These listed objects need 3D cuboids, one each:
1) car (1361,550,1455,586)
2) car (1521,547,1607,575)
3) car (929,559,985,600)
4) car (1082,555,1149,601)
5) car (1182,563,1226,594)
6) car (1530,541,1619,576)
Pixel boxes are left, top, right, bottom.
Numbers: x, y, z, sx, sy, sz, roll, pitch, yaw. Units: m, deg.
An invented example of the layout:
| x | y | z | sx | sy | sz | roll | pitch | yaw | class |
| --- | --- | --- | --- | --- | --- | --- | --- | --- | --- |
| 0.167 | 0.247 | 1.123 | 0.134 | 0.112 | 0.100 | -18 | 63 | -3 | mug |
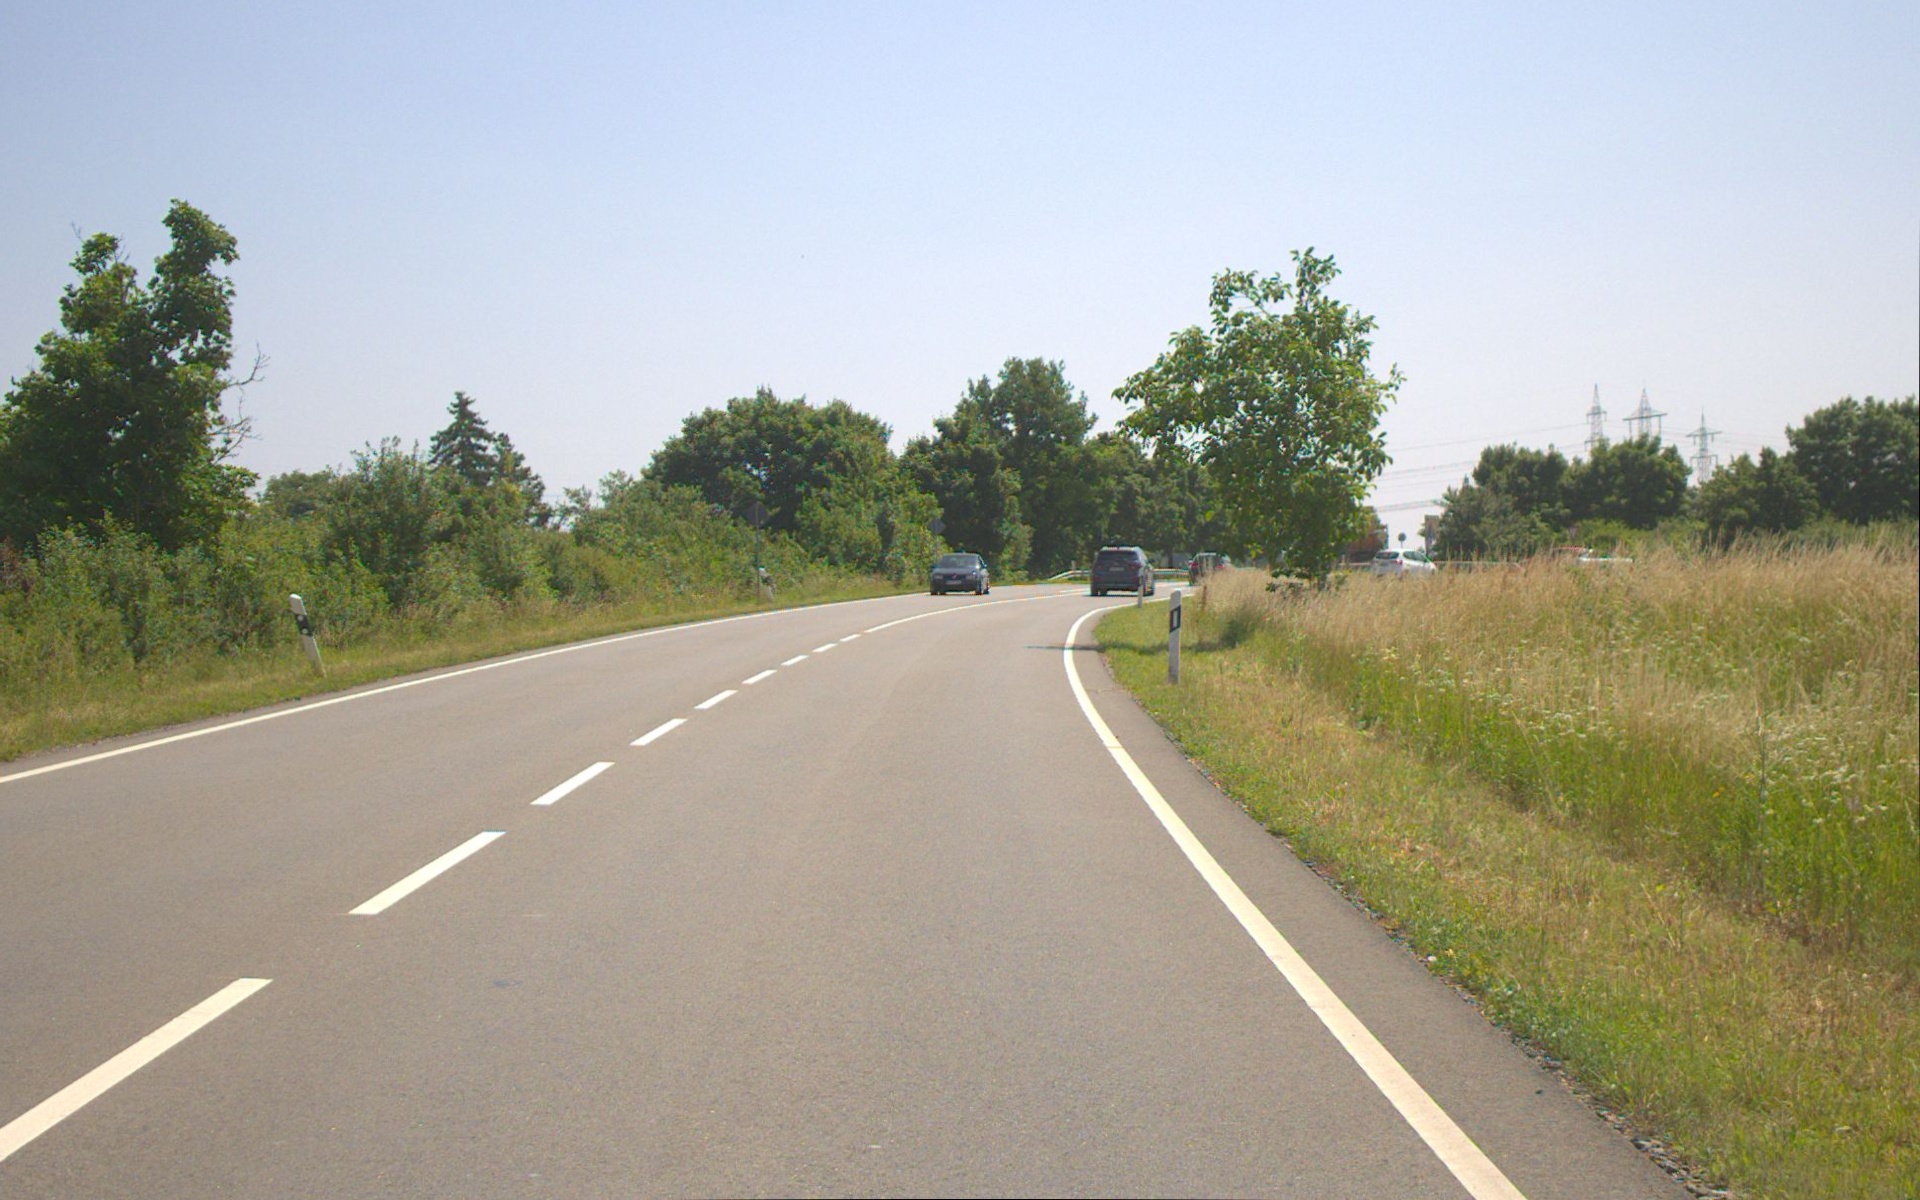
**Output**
| x | y | z | sx | sy | sz | roll | pitch | yaw | class |
| --- | --- | --- | --- | --- | --- | --- | --- | --- | --- |
| 20.994 | -1.506 | 161.021 | 4.130 | 1.618 | 2.070 | -2 | 1 | -40 | car |
| 31.727 | -2.038 | 180.645 | 4.158 | 1.414 | 1.777 | 0 | 0 | 24 | car |
| -0.090 | -0.704 | 116.536 | 1.692 | 1.358 | 3.826 | 1 | 0 | 3 | car |
| 5.302 | -0.739 | 117.056 | 1.885 | 1.513 | 4.038 | 1 | 0 | 8 | car |
| 10.824 | -0.964 | 152.157 | 1.644 | 1.336 | 4.038 | 1 | 0 | 8 | car |
| 30.071 | -2.010 | 168.236 | 3.991 | 1.618 | 1.642 | -1 | 0 | 23 | car |
